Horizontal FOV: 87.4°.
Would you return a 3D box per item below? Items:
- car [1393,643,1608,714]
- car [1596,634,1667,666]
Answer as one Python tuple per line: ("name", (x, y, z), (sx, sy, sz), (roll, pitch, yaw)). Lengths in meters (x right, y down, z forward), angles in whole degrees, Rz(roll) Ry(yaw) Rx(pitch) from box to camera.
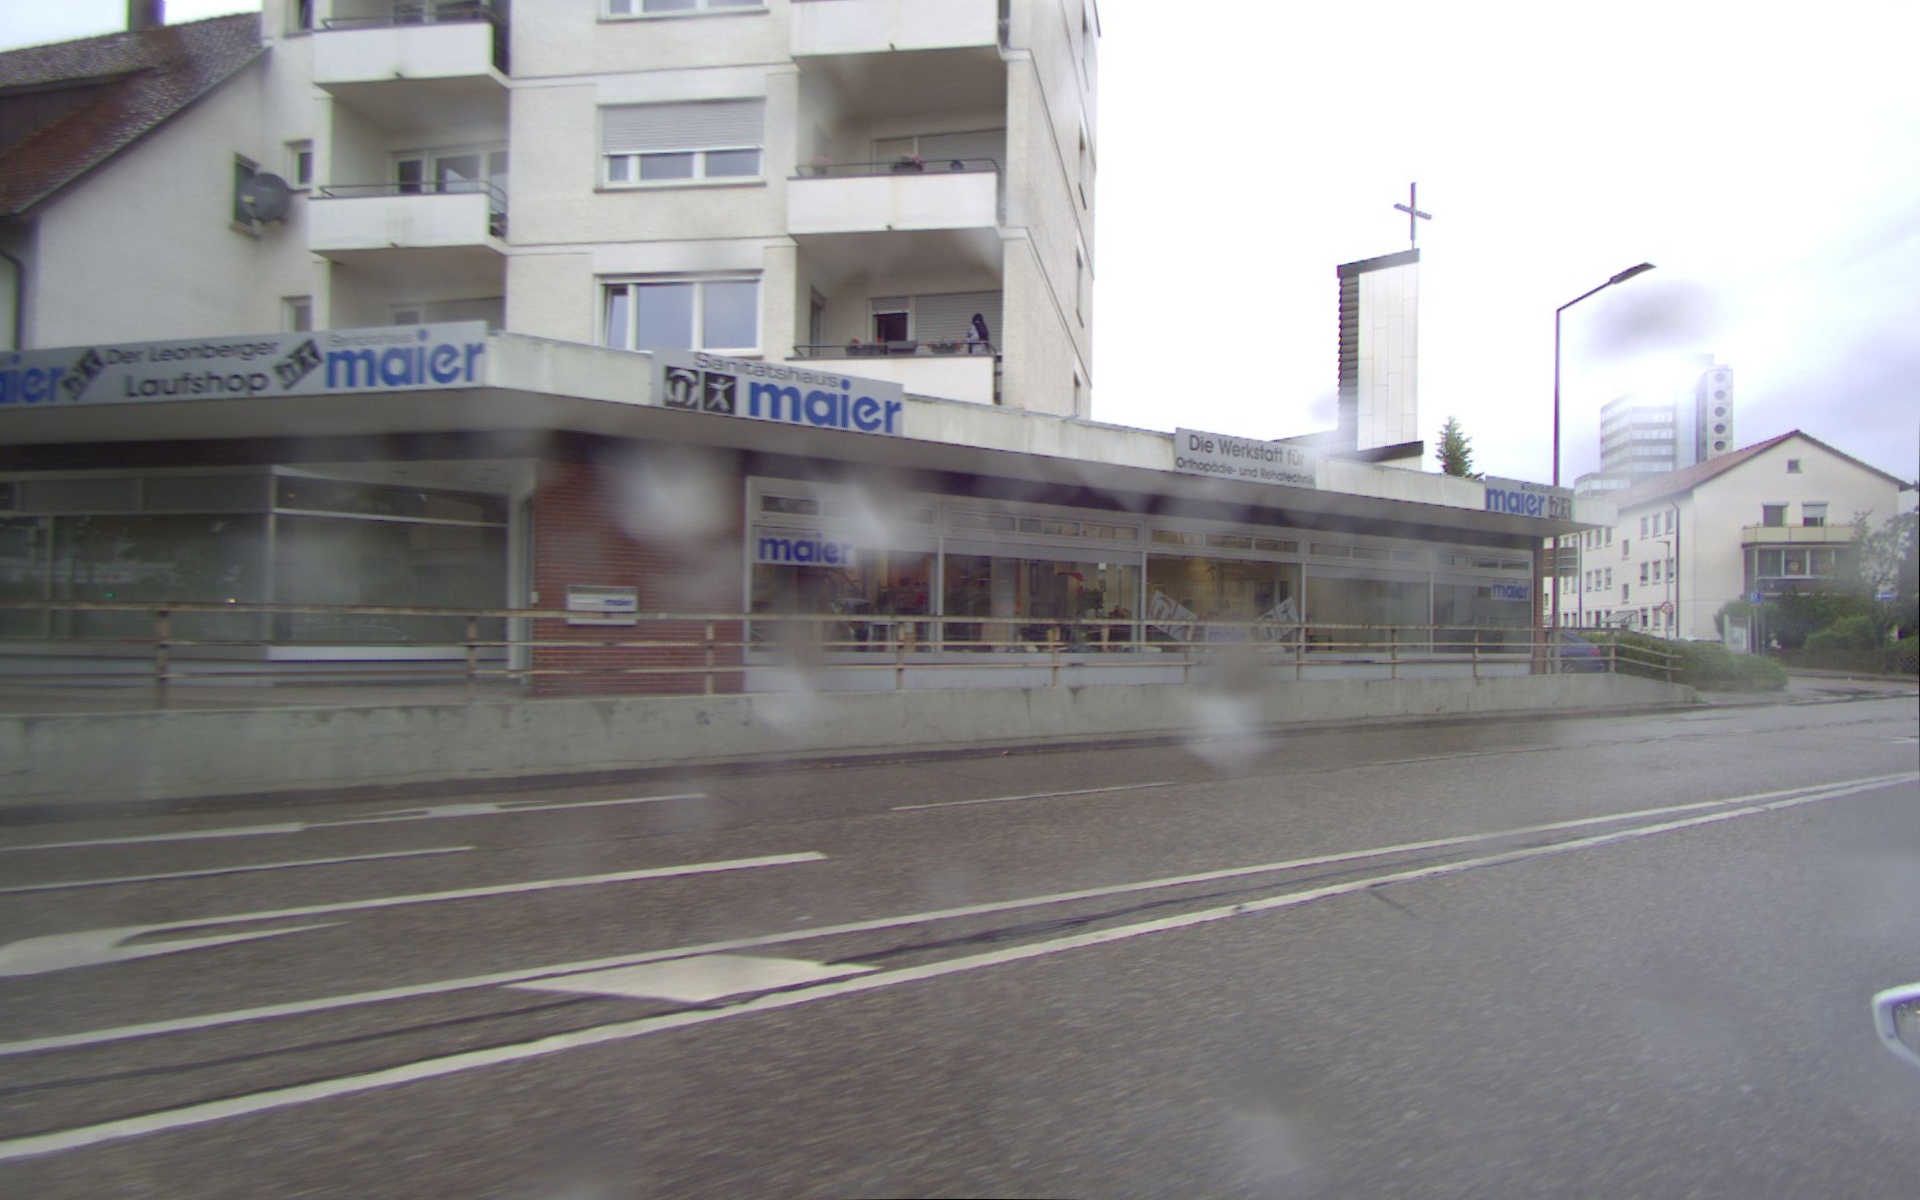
("car", (13.471, 1.931, 25.327), (4.380, 1.566, 2.001), (1, -1, 13))
("car", (33.582, 2.457, 50.345), (1.751, 1.466, 3.825), (1, -1, 14))
